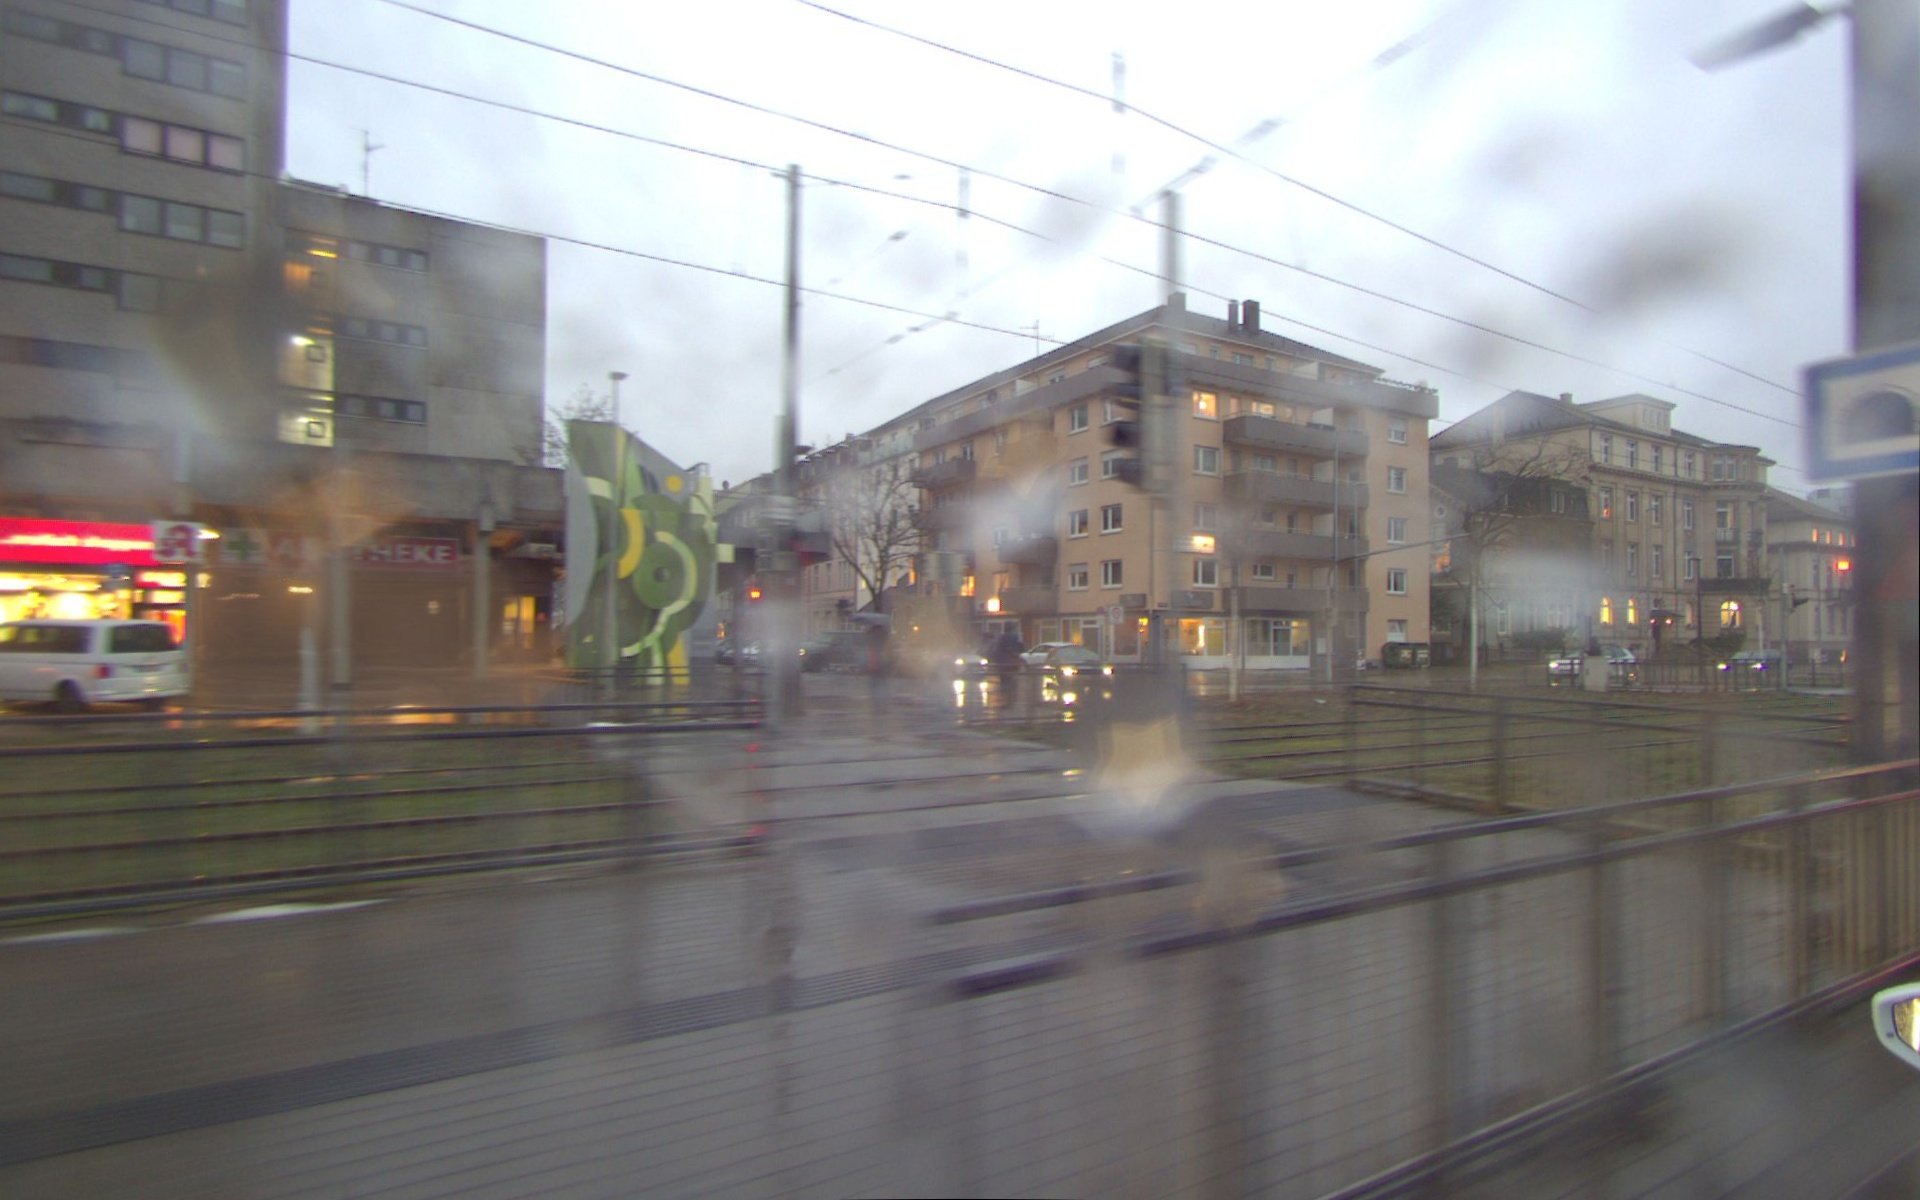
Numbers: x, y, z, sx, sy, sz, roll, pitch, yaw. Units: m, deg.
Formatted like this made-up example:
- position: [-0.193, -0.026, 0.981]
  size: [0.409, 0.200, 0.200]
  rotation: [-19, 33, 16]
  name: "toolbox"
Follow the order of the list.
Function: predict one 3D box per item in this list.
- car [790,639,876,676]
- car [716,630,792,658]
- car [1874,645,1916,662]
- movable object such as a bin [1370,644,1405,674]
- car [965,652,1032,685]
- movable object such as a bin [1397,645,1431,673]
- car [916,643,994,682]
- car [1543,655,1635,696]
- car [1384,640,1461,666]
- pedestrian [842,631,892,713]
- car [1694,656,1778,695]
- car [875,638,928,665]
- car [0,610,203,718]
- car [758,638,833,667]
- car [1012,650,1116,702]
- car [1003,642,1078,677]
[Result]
- position: [-5.812, 2.601, 46.037]
  size: [3.596, 1.622, 1.609]
  rotation: [2, -2, -30]
  name: "car"
- position: [-11.070, 2.361, 54.017]
  size: [3.542, 1.439, 1.822]
  rotation: [2, -2, -34]
  name: "car"
- position: [80.456, 4.596, 86.411]
  size: [3.885, 1.455, 1.796]
  rotation: [2, -3, -33]
  name: "car"
- position: [22.845, 3.144, 53.704]
  size: [1.410, 1.581, 1.101]
  rotation: [1, -3, -33]
  name: "movable object such as a bin"
- position: [2.015, 3.611, 53.518]
  size: [1.738, 1.572, 3.806]
  rotation: [2, -2, -31]
  name: "car"
- position: [24.732, 3.212, 54.675]
  size: [1.410, 1.500, 1.101]
  rotation: [1, -3, -33]
  name: "movable object such as a bin"
- position: [-0.257, 2.825, 45.908]
  size: [1.667, 1.531, 3.964]
  rotation: [2, -1, -33]
  name: "car"
- position: [27.401, 3.259, 43.724]
  size: [3.955, 1.606, 1.792]
  rotation: [2, -1, -32]
  name: "car"
- position: [28.086, 3.231, 61.102]
  size: [1.813, 1.425, 3.966]
  rotation: [3, -2, -31]
  name: "car"
- position: [-1.754, 1.340, 18.912]
  size: [0.625, 1.509, 0.784]
  rotation: [2, -2, -38]
  name: "pedestrian"
- position: [35.961, 3.474, 46.526]
  size: [3.955, 1.606, 1.792]
  rotation: [2, -1, -32]
  name: "car"
- position: [-3.677, 3.204, 62.642]
  size: [1.738, 1.572, 3.806]
  rotation: [2, -2, -31]
  name: "car"
- position: [-19.275, 1.320, 21.853]
  size: [4.480, 2.040, 2.001]
  rotation: [2, -1, 13]
  name: "car"
- position: [-8.631, 2.736, 52.738]
  size: [3.542, 1.439, 1.712]
  rotation: [2, -2, -34]
  name: "car"
- position: [3.501, 2.584, 34.836]
  size: [1.967, 1.565, 4.688]
  rotation: [1, -2, -16]
  name: "car"
- position: [3.884, 2.856, 48.972]
  size: [1.758, 1.572, 3.806]
  rotation: [2, -2, -31]
  name: "car"
